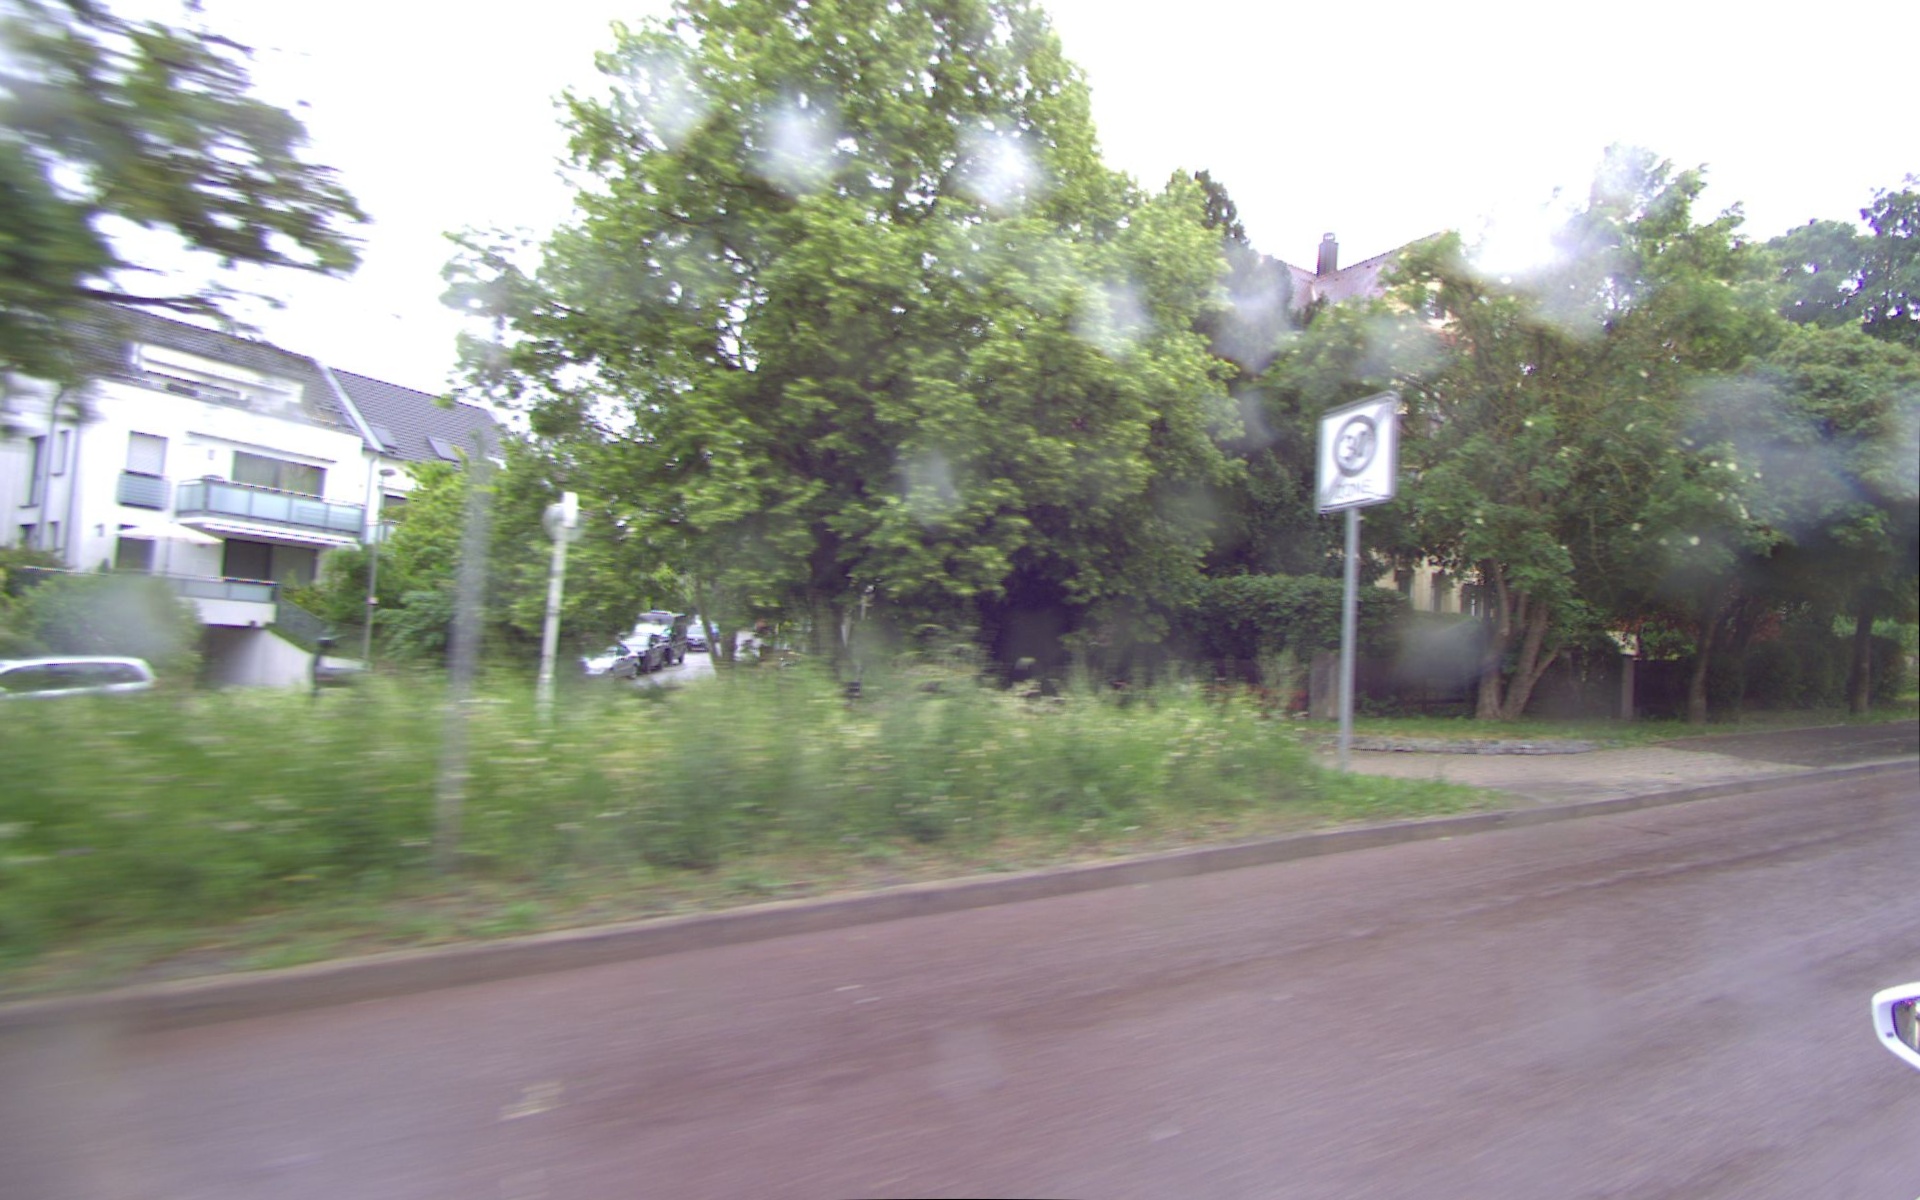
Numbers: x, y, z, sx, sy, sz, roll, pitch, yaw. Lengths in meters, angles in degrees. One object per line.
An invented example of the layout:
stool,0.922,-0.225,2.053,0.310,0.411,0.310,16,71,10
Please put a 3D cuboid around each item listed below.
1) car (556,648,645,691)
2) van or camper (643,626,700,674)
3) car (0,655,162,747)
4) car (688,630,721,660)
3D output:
car,-13.660,2.628,38.423,1.875,1.408,4.001,1,-1,1
van or camper,-14.412,2.457,50.467,1.963,2.225,5.055,1,-1,-7
car,-17.863,1.895,19.005,1.531,1.569,4.036,1,-1,25
car,-16.805,2.954,66.150,1.408,1.859,3.392,0,-2,-3
